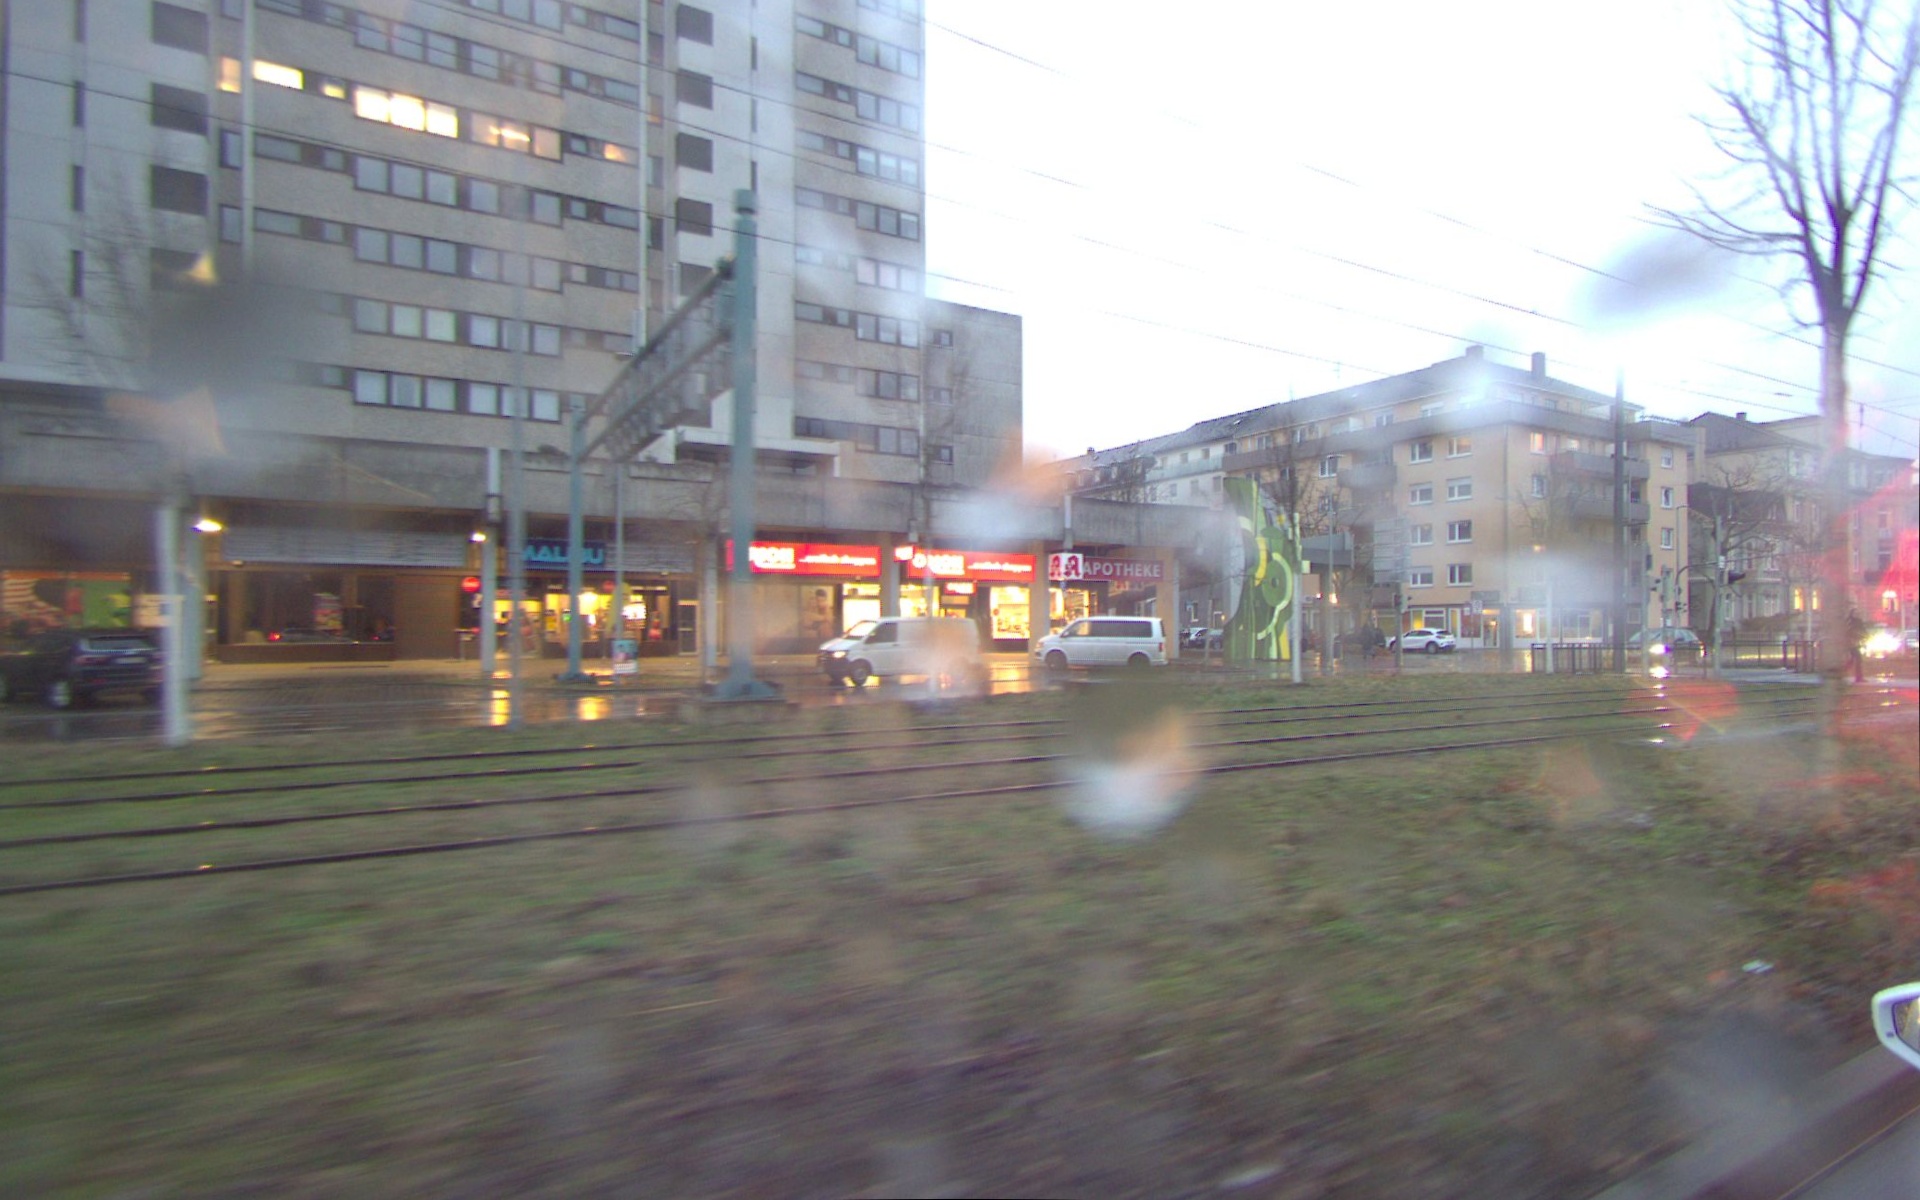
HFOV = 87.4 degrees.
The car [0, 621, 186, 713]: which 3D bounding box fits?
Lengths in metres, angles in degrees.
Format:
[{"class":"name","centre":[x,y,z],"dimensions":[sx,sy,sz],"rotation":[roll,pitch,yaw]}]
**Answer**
[{"class":"car","centre":[-19.227,1.390,22.100],"dimensions":[4.067,1.716,1.982],"rotation":[2,0,28]}]

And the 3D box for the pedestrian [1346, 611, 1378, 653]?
[{"class":"pedestrian","centre":[19.858,1.572,49.650],"dimensions":[1.253,2.040,1.004],"rotation":[-1,-1,37]}]

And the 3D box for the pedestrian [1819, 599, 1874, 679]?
[{"class":"pedestrian","centre":[23.224,1.011,26.317],"dimensions":[0.955,2.040,0.994],"rotation":[1,-1,-44]}]

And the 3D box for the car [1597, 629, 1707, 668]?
[{"class":"car","centre":[26.573,1.849,38.551],"dimensions":[4.265,1.350,1.850],"rotation":[1,0,-30]}]

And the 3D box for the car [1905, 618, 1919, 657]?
[{"class":"car","centre":[42.304,1.653,42.776],"dimensions":[3.954,1.624,1.983],"rotation":[1,0,-31]}]

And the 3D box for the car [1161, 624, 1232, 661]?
[{"class":"car","centre":[13.910,2.497,59.114],"dimensions":[3.830,2.040,1.884],"rotation":[1,0,-31]}]

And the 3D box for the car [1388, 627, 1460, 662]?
[{"class":"car","centre":[29.356,2.771,63.607],"dimensions":[1.825,1.968,3.720],"rotation":[1,0,-37]}]

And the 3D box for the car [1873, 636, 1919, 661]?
[{"class":"car","centre":[51.213,2.593,54.504],"dimensions":[4.108,1.294,1.679],"rotation":[1,-1,-36]}]

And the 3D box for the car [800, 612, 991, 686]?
[{"class":"car","centre":[-1.962,1.478,30.903],"dimensions":[5.490,2.073,1.987],"rotation":[1,0,-26]}]

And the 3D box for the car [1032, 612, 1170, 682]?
[{"class":"car","centre":[5.155,1.650,36.568],"dimensions":[4.734,2.274,2.001],"rotation":[2,0,15]}]
